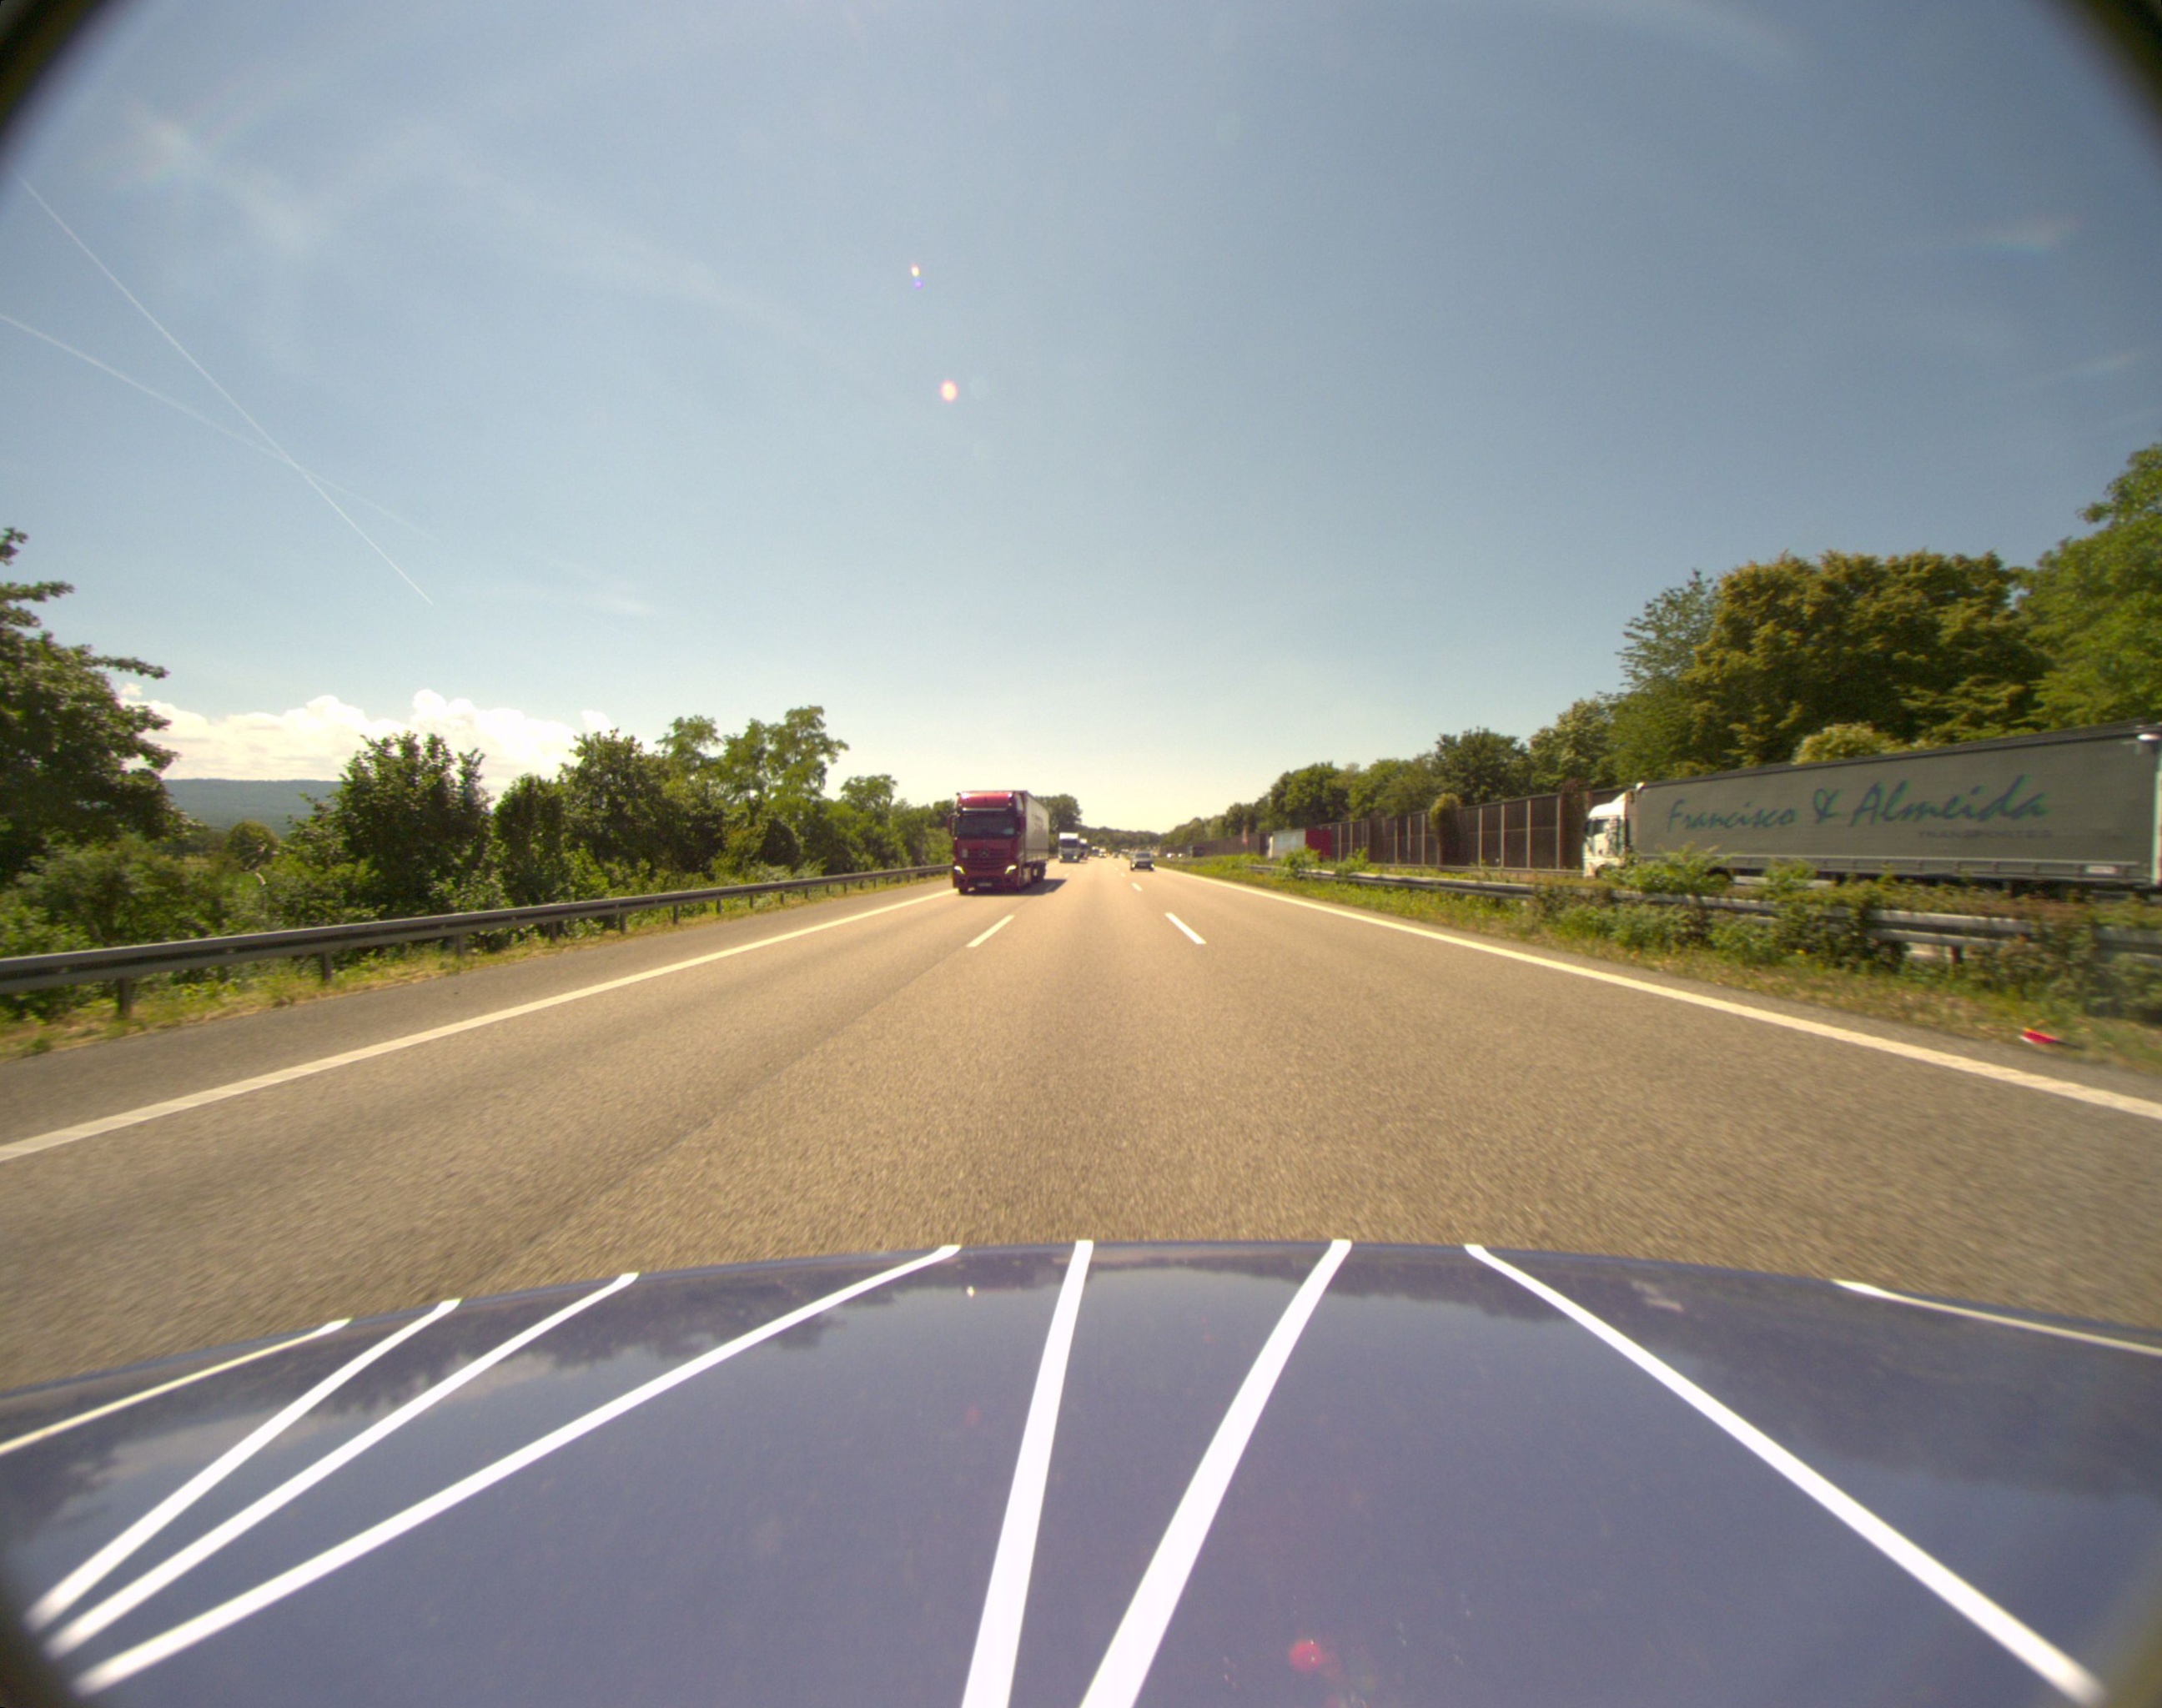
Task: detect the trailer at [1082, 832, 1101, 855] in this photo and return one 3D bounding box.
[{"bbox_3d":[2.306,-2.135,154.505,2.541,4.446,14.166,1,0,6],"label":"trailer"}]

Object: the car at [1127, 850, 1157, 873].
[{"bbox_3d":[4.884,0.556,61.211,1.909,1.717,4.375,1,0,-1],"label":"car"}]

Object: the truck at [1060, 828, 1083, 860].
[{"bbox_3d":[-1.357,-1.291,102.904,2.967,4.082,6.205,1,0,-2],"label":"truck"}]

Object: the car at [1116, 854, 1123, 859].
[{"bbox_3d":[12.168,0.807,240.652,1.908,1.717,4.377,1,0,4],"label":"car"}]

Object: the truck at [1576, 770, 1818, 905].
[{"bbox_3d":[21.428,-0.534,27.138,2.840,4.159,7.142,0,1,1],"label":"truck"}]

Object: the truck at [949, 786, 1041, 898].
[{"bbox_3d":[-3.349,-0.454,31.415,2.713,4.064,6.965,1,0,2],"label":"truck"}]

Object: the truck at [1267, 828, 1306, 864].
[{"bbox_3d":[23.381,-0.894,86.698,2.765,3.999,6.734,0,1,1],"label":"truck"}]

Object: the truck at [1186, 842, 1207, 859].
[{"bbox_3d":[26.308,-0.738,173.452,3.097,3.654,12.368,1,0,1],"label":"truck"}]

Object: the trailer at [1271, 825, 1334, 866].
[{"bbox_3d":[23.308,-0.855,81.014,2.741,3.998,14.305,0,0,1],"label":"trailer"}]

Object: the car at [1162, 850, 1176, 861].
[{"bbox_3d":[16.325,0.211,141.090,1.998,2.002,4.896,-1,0,1],"label":"car"}]

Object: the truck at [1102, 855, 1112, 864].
[{"bbox_3d":[7.984,1.590,231.535,2.715,2.712,12.370,1,0,3],"label":"truck"}]

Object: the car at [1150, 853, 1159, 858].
[{"bbox_3d":[20.850,0.497,215.511,1.869,1.433,5.085,1,0,1],"label":"car"}]

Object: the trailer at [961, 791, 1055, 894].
[{"bbox_3d":[-3.149,-0.487,37.360,2.713,4.064,14.152,1,0,2],"label":"trailer"}]

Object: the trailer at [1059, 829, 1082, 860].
[{"bbox_3d":[-1.574,-1.299,109.101,2.967,4.082,12.529,1,0,-2],"label":"trailer"}]

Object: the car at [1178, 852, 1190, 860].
[{"bbox_3d":[21.910,0.455,162.275,1.998,1.581,4.493,1,0,2],"label":"car"}]

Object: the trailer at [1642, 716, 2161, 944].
[{"bbox_3d":[21.303,-0.485,20.314,2.917,4.159,13.311,0,0,1],"label":"trailer"}]

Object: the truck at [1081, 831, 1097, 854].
[{"bbox_3d":[1.581,-2.155,149.597,2.541,4.446,5.575,1,0,6],"label":"truck"}]
